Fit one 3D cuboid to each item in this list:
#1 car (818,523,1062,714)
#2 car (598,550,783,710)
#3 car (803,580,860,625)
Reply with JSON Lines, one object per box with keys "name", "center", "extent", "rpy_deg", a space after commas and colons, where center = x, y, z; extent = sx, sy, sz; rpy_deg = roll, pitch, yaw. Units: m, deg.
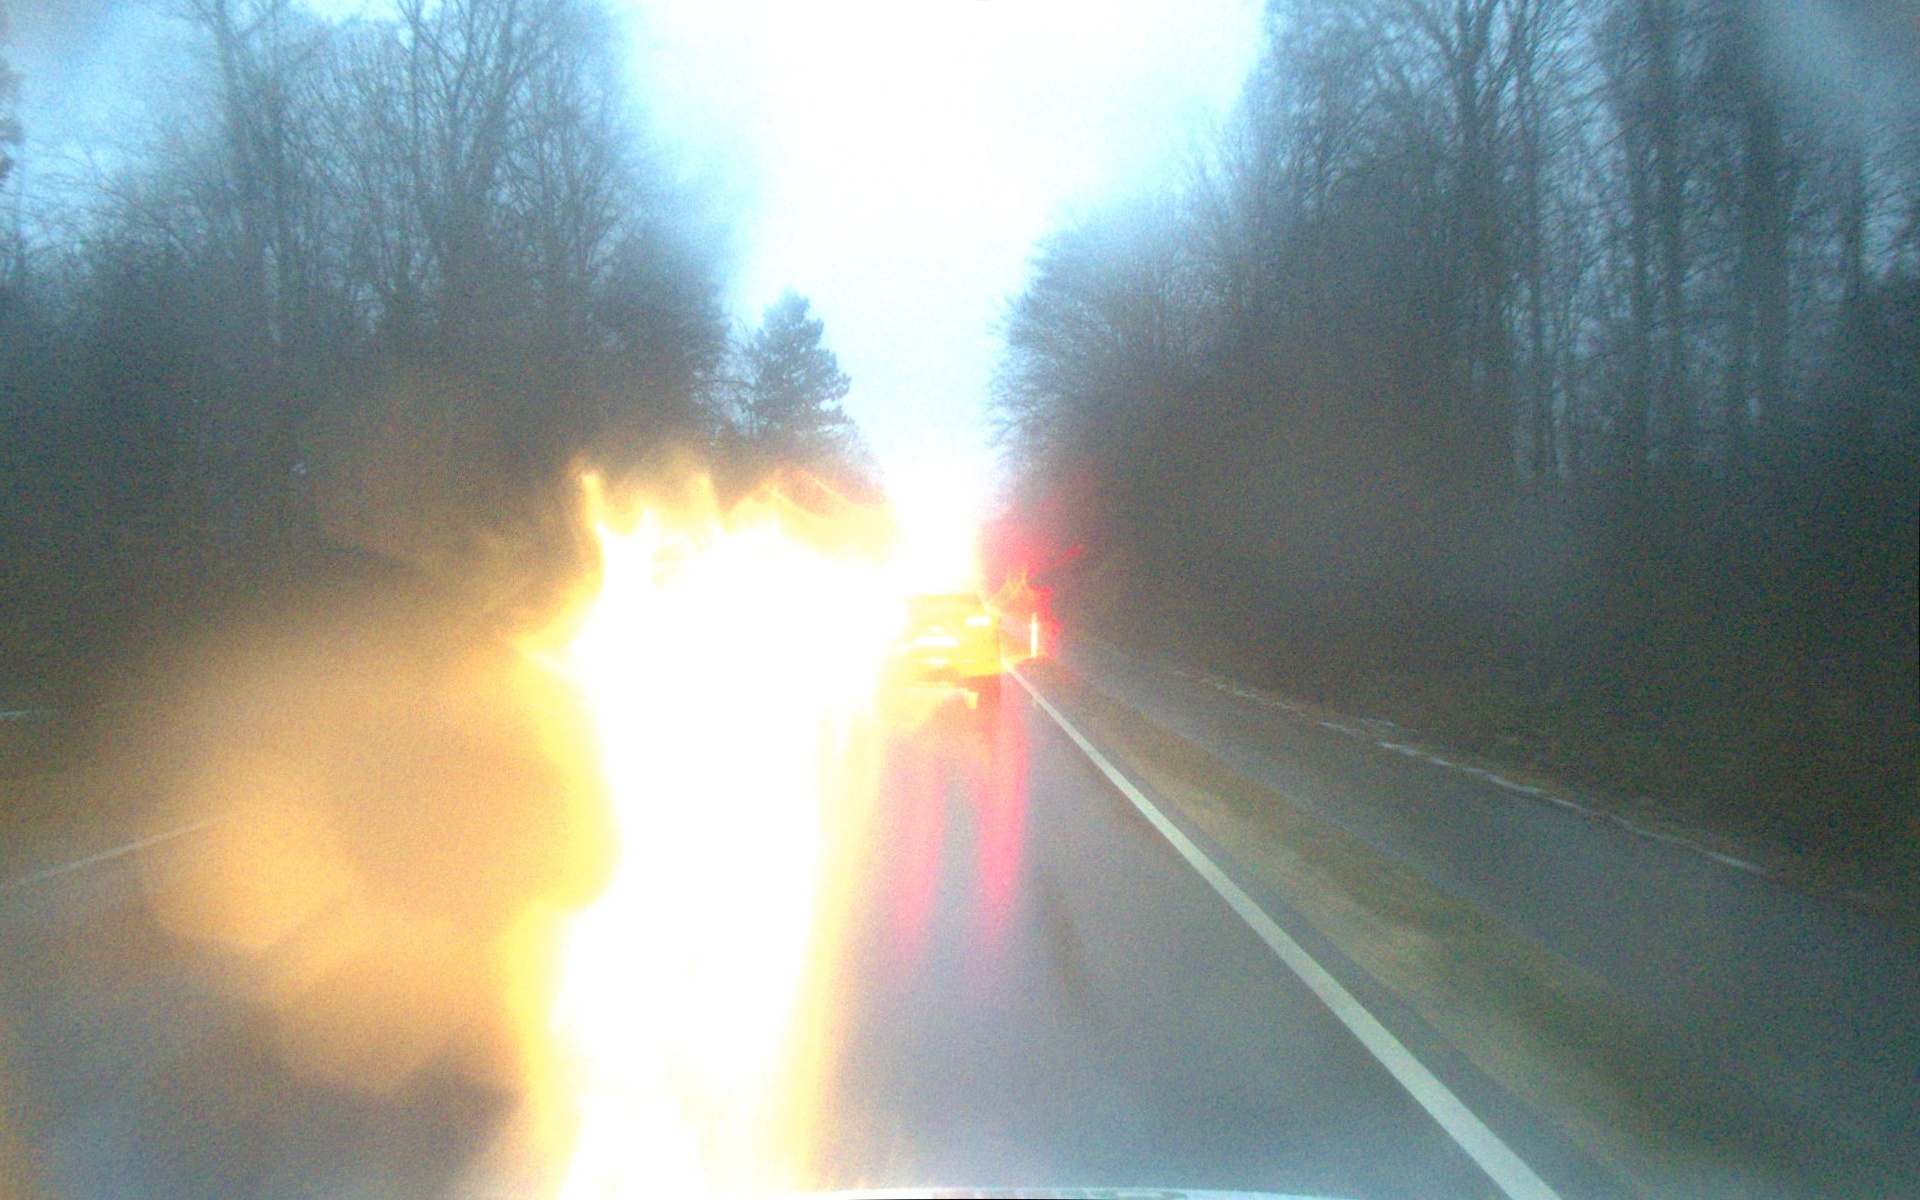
{"name": "car", "center": [-0.266, 0.225, 24.718], "extent": [3.118, 2.428, 6.636], "rpy_deg": [1, 0, 0]}
{"name": "car", "center": [-3.801, 0.377, 24.233], "extent": [1.966, 2.023, 5.030], "rpy_deg": [-2, 0, -2]}
{"name": "car", "center": [-4.568, 0.079, 59.200], "extent": [1.718, 1.483, 3.637], "rpy_deg": [-2, 0, 0]}
